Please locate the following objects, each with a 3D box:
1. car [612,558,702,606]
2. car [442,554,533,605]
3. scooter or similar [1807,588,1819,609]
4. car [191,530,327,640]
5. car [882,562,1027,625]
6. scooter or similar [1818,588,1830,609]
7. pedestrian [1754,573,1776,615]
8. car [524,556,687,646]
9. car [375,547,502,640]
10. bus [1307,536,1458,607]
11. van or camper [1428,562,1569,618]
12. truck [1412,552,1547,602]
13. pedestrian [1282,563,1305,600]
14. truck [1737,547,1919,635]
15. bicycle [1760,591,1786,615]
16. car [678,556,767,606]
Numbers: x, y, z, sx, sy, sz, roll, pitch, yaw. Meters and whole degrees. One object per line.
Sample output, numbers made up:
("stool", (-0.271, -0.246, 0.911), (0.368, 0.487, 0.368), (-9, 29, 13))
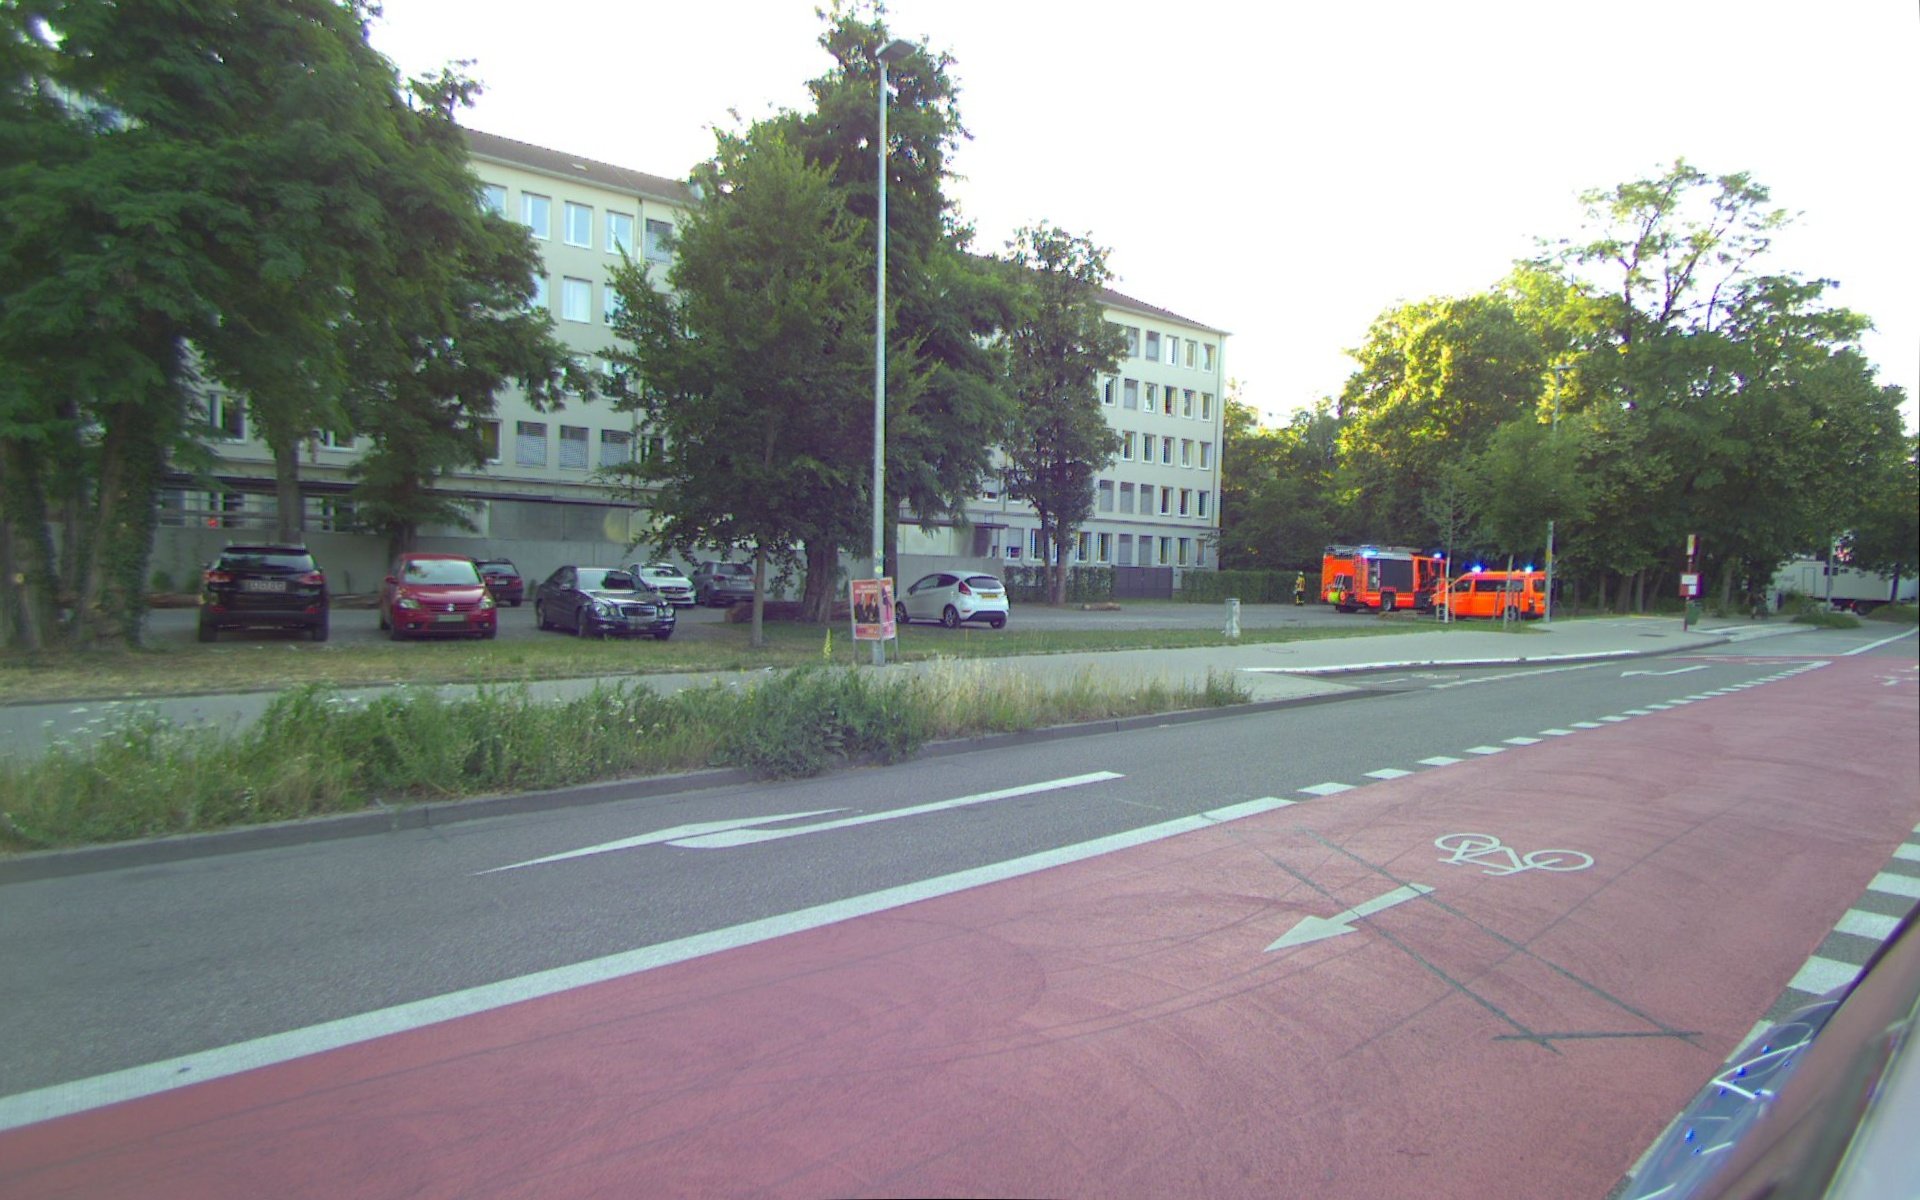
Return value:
("car", (-10.147, -0.626, 33.733), (1.798, 1.494, 4.002), (0, 1, -33))
("car", (-14.467, -0.631, 30.876), (1.866, 1.460, 4.001), (0, 1, -35))
("scooter or similar", (53.318, -0.089, 63.233), (0.482, 1.297, 1.213), (5, 3, 40))
("car", (-12.402, -0.282, 17.896), (1.802, 1.715, 3.910), (0, 1, -36))
("car", (-0.216, -0.223, 27.069), (1.876, 1.556, 3.999), (0, 2, -37))
("scooter or similar", (54.811, -0.074, 64.210), (0.482, 1.297, 1.123), (5, 3, 41))
("pedestrian", (40.043, -0.295, 50.336), (0.720, 2.038, 0.687), (2, 2, 32))
("car", (-7.450, -0.087, 21.015), (1.866, 1.465, 4.584), (-2, 6, -37))
("car", (-10.158, -0.197, 19.555), (1.751, 1.580, 4.003), (0, 2, -34))
("bus", (20.794, -1.340, 49.634), (7.810, 3.236, 2.999), (0, 1, -34))
("van or camper", (23.012, -0.459, 43.422), (2.251, 2.272, 4.830), (0, 1, -34))
("truck", (36.656, -1.715, 71.865), (2.703, 3.250, 8.683), (1, 2, -24))
("pedestrian", (18.361, -1.029, 55.747), (0.810, 2.038, 0.774), (1, 2, -32))
("truck", (64.083, -0.766, 71.666), (5.055, 5.642, 15.109), (1, 2, -6))
("bicycle", (40.332, 0.143, 50.209), (0.828, 1.111, 1.944), (2, 2, 34))
("car", (-8.357, -0.691, 35.429), (1.875, 1.636, 4.004), (-1, 2, -32))
